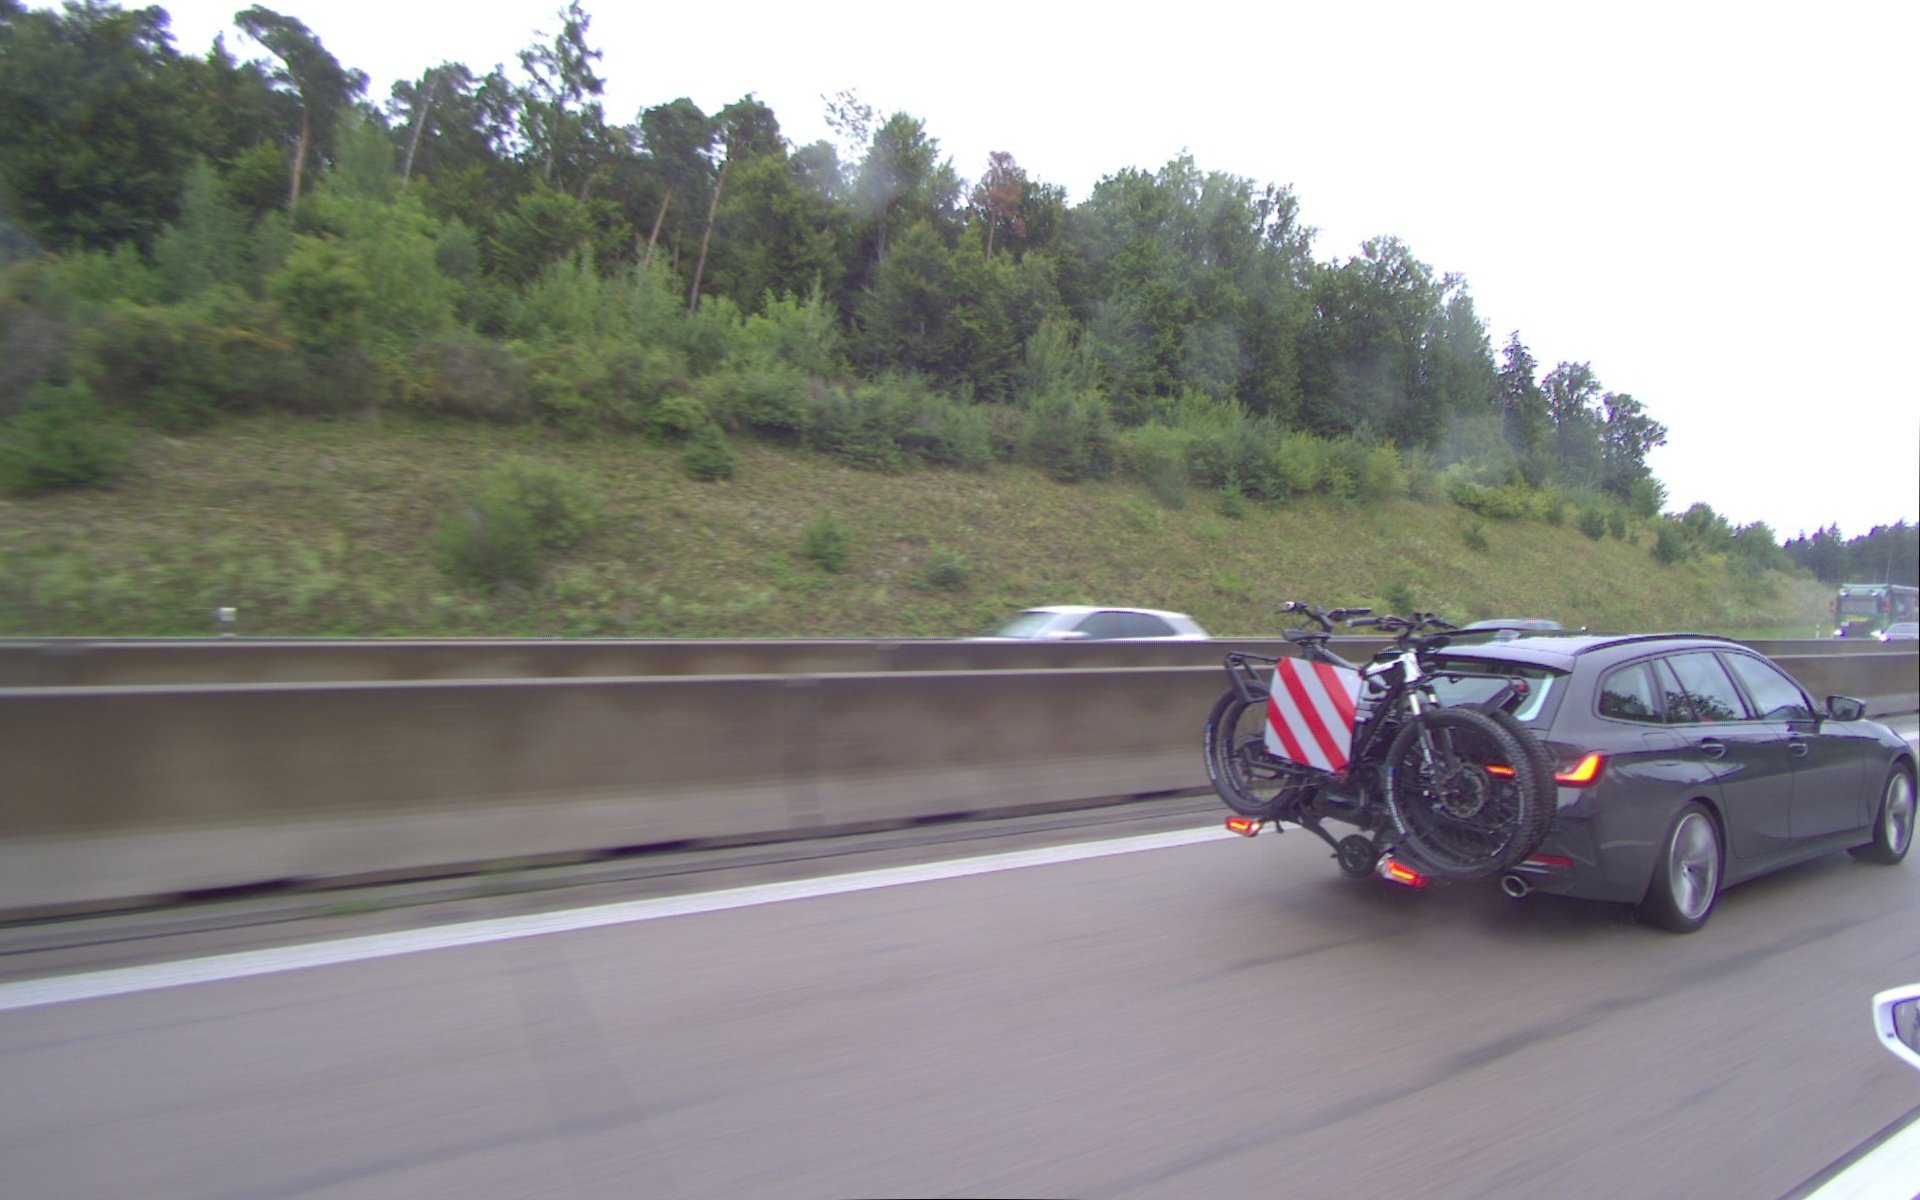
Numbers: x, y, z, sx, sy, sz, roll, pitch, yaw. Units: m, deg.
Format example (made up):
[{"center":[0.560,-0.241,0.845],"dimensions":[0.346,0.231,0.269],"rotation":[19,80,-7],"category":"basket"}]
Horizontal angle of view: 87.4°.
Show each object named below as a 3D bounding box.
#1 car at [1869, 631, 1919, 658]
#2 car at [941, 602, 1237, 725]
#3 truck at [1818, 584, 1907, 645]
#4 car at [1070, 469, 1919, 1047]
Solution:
[{"center":[48.741,2.264,51.700],"dimensions":[4.253,1.310,1.981],"rotation":[1,0,-34],"category":"car"},{"center":[1.970,0.860,14.869],"dimensions":[4.237,1.582,1.732],"rotation":[1,0,-33],"category":"car"},{"center":[62.234,1.021,69.218],"dimensions":[8.039,4.013,2.907],"rotation":[1,0,-36],"category":"truck"},{"center":[3.642,0.594,5.848],"dimensions":[6.093,1.971,1.897],"rotation":[1,0,-32],"category":"car"}]
